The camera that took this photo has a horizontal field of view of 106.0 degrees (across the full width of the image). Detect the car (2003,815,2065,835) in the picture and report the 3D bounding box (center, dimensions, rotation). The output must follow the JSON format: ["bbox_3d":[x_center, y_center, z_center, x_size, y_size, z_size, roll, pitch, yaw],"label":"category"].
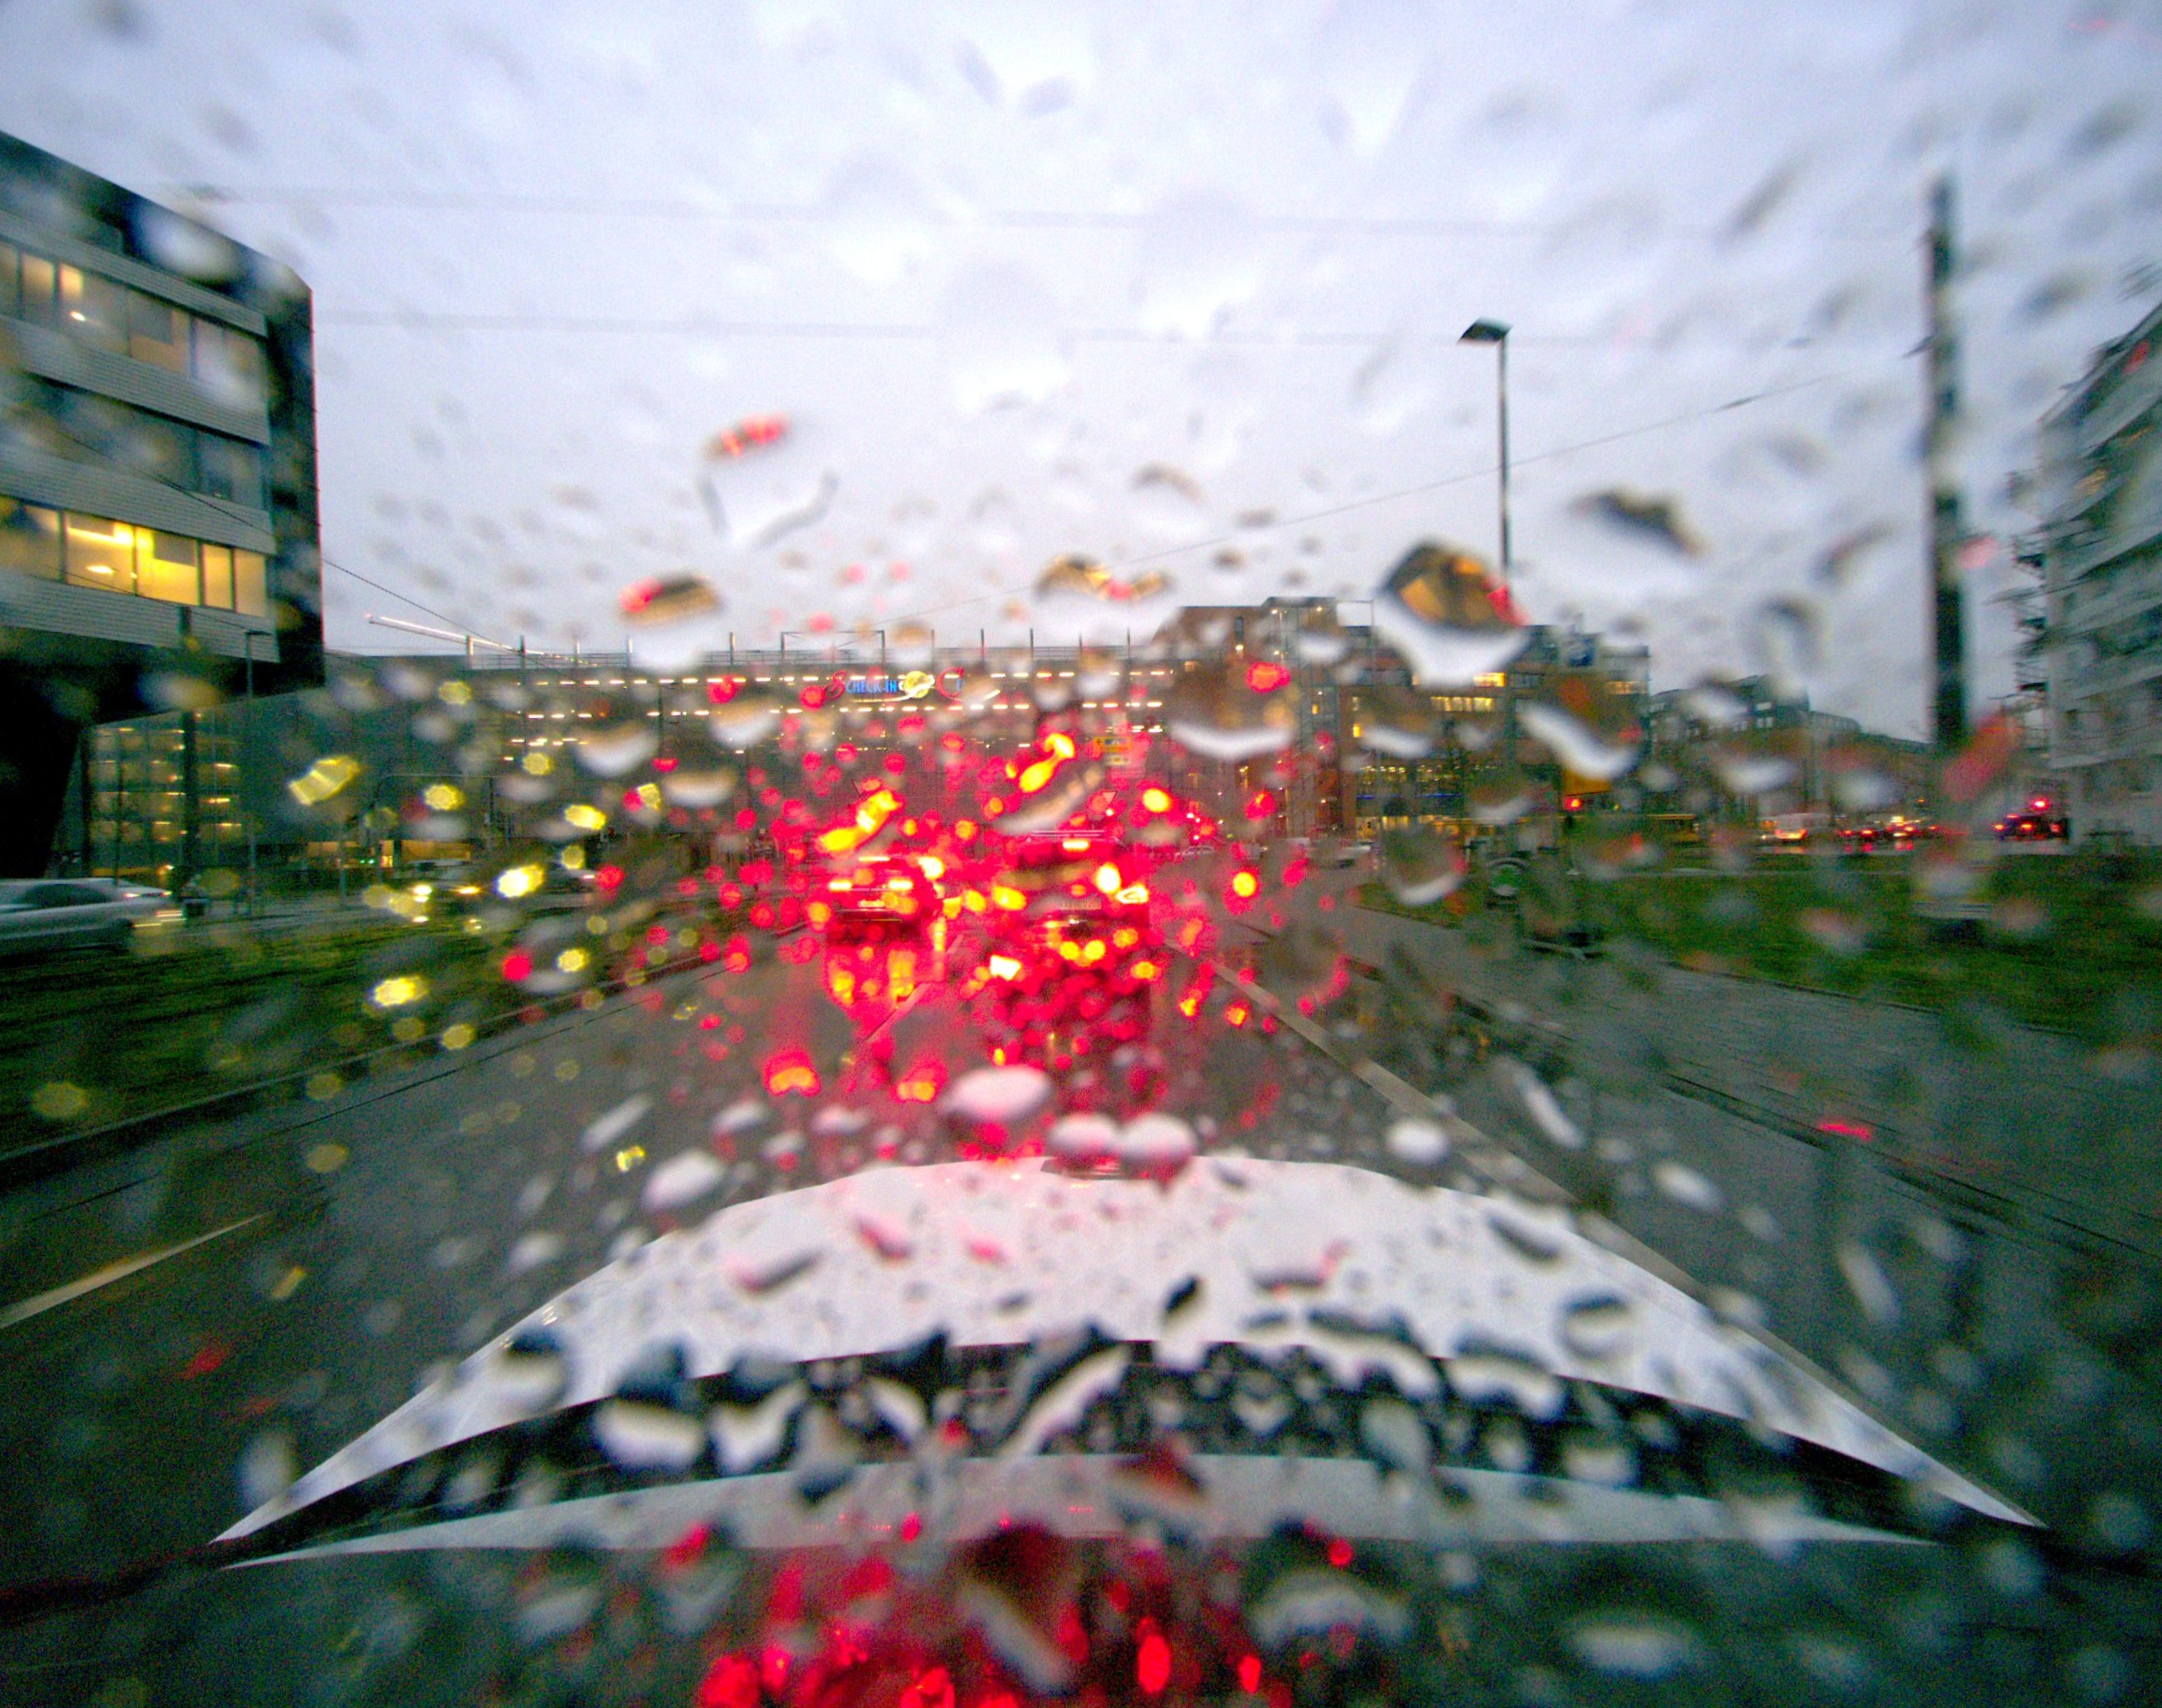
[{"bbox_3d":[79.149,-2.401,67.664,4.085,1.583,1.988,0,0,-18],"label":"car"}]

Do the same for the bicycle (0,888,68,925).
[{"bbox_3d":[-34.075,1.676,26.305,0.552,1.090,1.614,-2,0,6],"label":"bicycle"}]

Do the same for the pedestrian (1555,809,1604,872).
[{"bbox_3d":[15.590,-0.418,25.507,1.160,1.924,0.903,1,0,21],"label":"pedestrian"}]

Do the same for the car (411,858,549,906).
[{"bbox_3d":[-20.090,0.891,27.482,1.655,1.400,4.513,0,0,-6],"label":"car"}]

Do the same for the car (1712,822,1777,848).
[{"bbox_3d":[53.041,-1.471,65.125,3.990,2.013,1.992,0,0,-12],"label":"car"}]

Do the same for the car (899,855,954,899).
[{"bbox_3d":[-4.830,0.679,25.726,1.540,1.251,4.054,-2,0,-9],"label":"car"}]

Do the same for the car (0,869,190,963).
[{"bbox_3d":[-18.445,1.035,13.802,1.818,1.435,4.647,1,0,-5],"label":"car"}]

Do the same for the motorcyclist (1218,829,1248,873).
[{"bbox_3d":[5.410,-0.101,29.066,0.864,1.534,1.109,-2,0,4],"label":"motorcyclist"}]

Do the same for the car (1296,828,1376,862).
[{"bbox_3d":[15.520,-0.525,49.587,4.367,2.013,1.988,0,0,-18],"label":"car"}]

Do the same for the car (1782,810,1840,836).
[{"bbox_3d":[60.595,-2.525,67.611,4.960,2.013,1.982,0,0,-28],"label":"car"}]

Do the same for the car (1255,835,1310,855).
[{"bbox_3d":[18.290,-0.816,73.959,4.422,1.595,1.793,-2,0,-12],"label":"car"}]

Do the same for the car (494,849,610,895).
[{"bbox_3d":[-24.671,0.783,38.145,3.992,1.874,1.991,-3,1,-13],"label":"car"}]

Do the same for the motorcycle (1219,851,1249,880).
[{"bbox_3d":[5.437,0.402,29.097,0.849,0.971,1.583,-2,0,4],"label":"motorcycle"}]

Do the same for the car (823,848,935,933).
[{"bbox_3d":[-4.239,0.696,17.699,1.750,1.574,3.992,-2,0,-6],"label":"car"}]

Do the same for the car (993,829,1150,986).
[{"bbox_3d":[-0.240,0.590,11.173,1.732,1.738,4.241,1,0,-4],"label":"car"}]

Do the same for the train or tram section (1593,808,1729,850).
[{"bbox_3d":[51.004,-2.244,71.515,12.990,3.260,2.323,-2,0,-17],"label":"train or tram section"}]

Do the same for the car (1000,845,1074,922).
[{"bbox_3d":[-1.170,0.657,20.095,1.634,1.697,3.663,-1,0,-6],"label":"car"}]

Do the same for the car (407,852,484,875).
[{"bbox_3d":[-55.748,0.856,71.520,5.074,1.962,1.886,0,0,-8],"label":"car"}]

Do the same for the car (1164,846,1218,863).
[{"bbox_3d":[9.828,0.018,73.039,4.418,1.390,1.794,-2,0,-9],"label":"car"}]
